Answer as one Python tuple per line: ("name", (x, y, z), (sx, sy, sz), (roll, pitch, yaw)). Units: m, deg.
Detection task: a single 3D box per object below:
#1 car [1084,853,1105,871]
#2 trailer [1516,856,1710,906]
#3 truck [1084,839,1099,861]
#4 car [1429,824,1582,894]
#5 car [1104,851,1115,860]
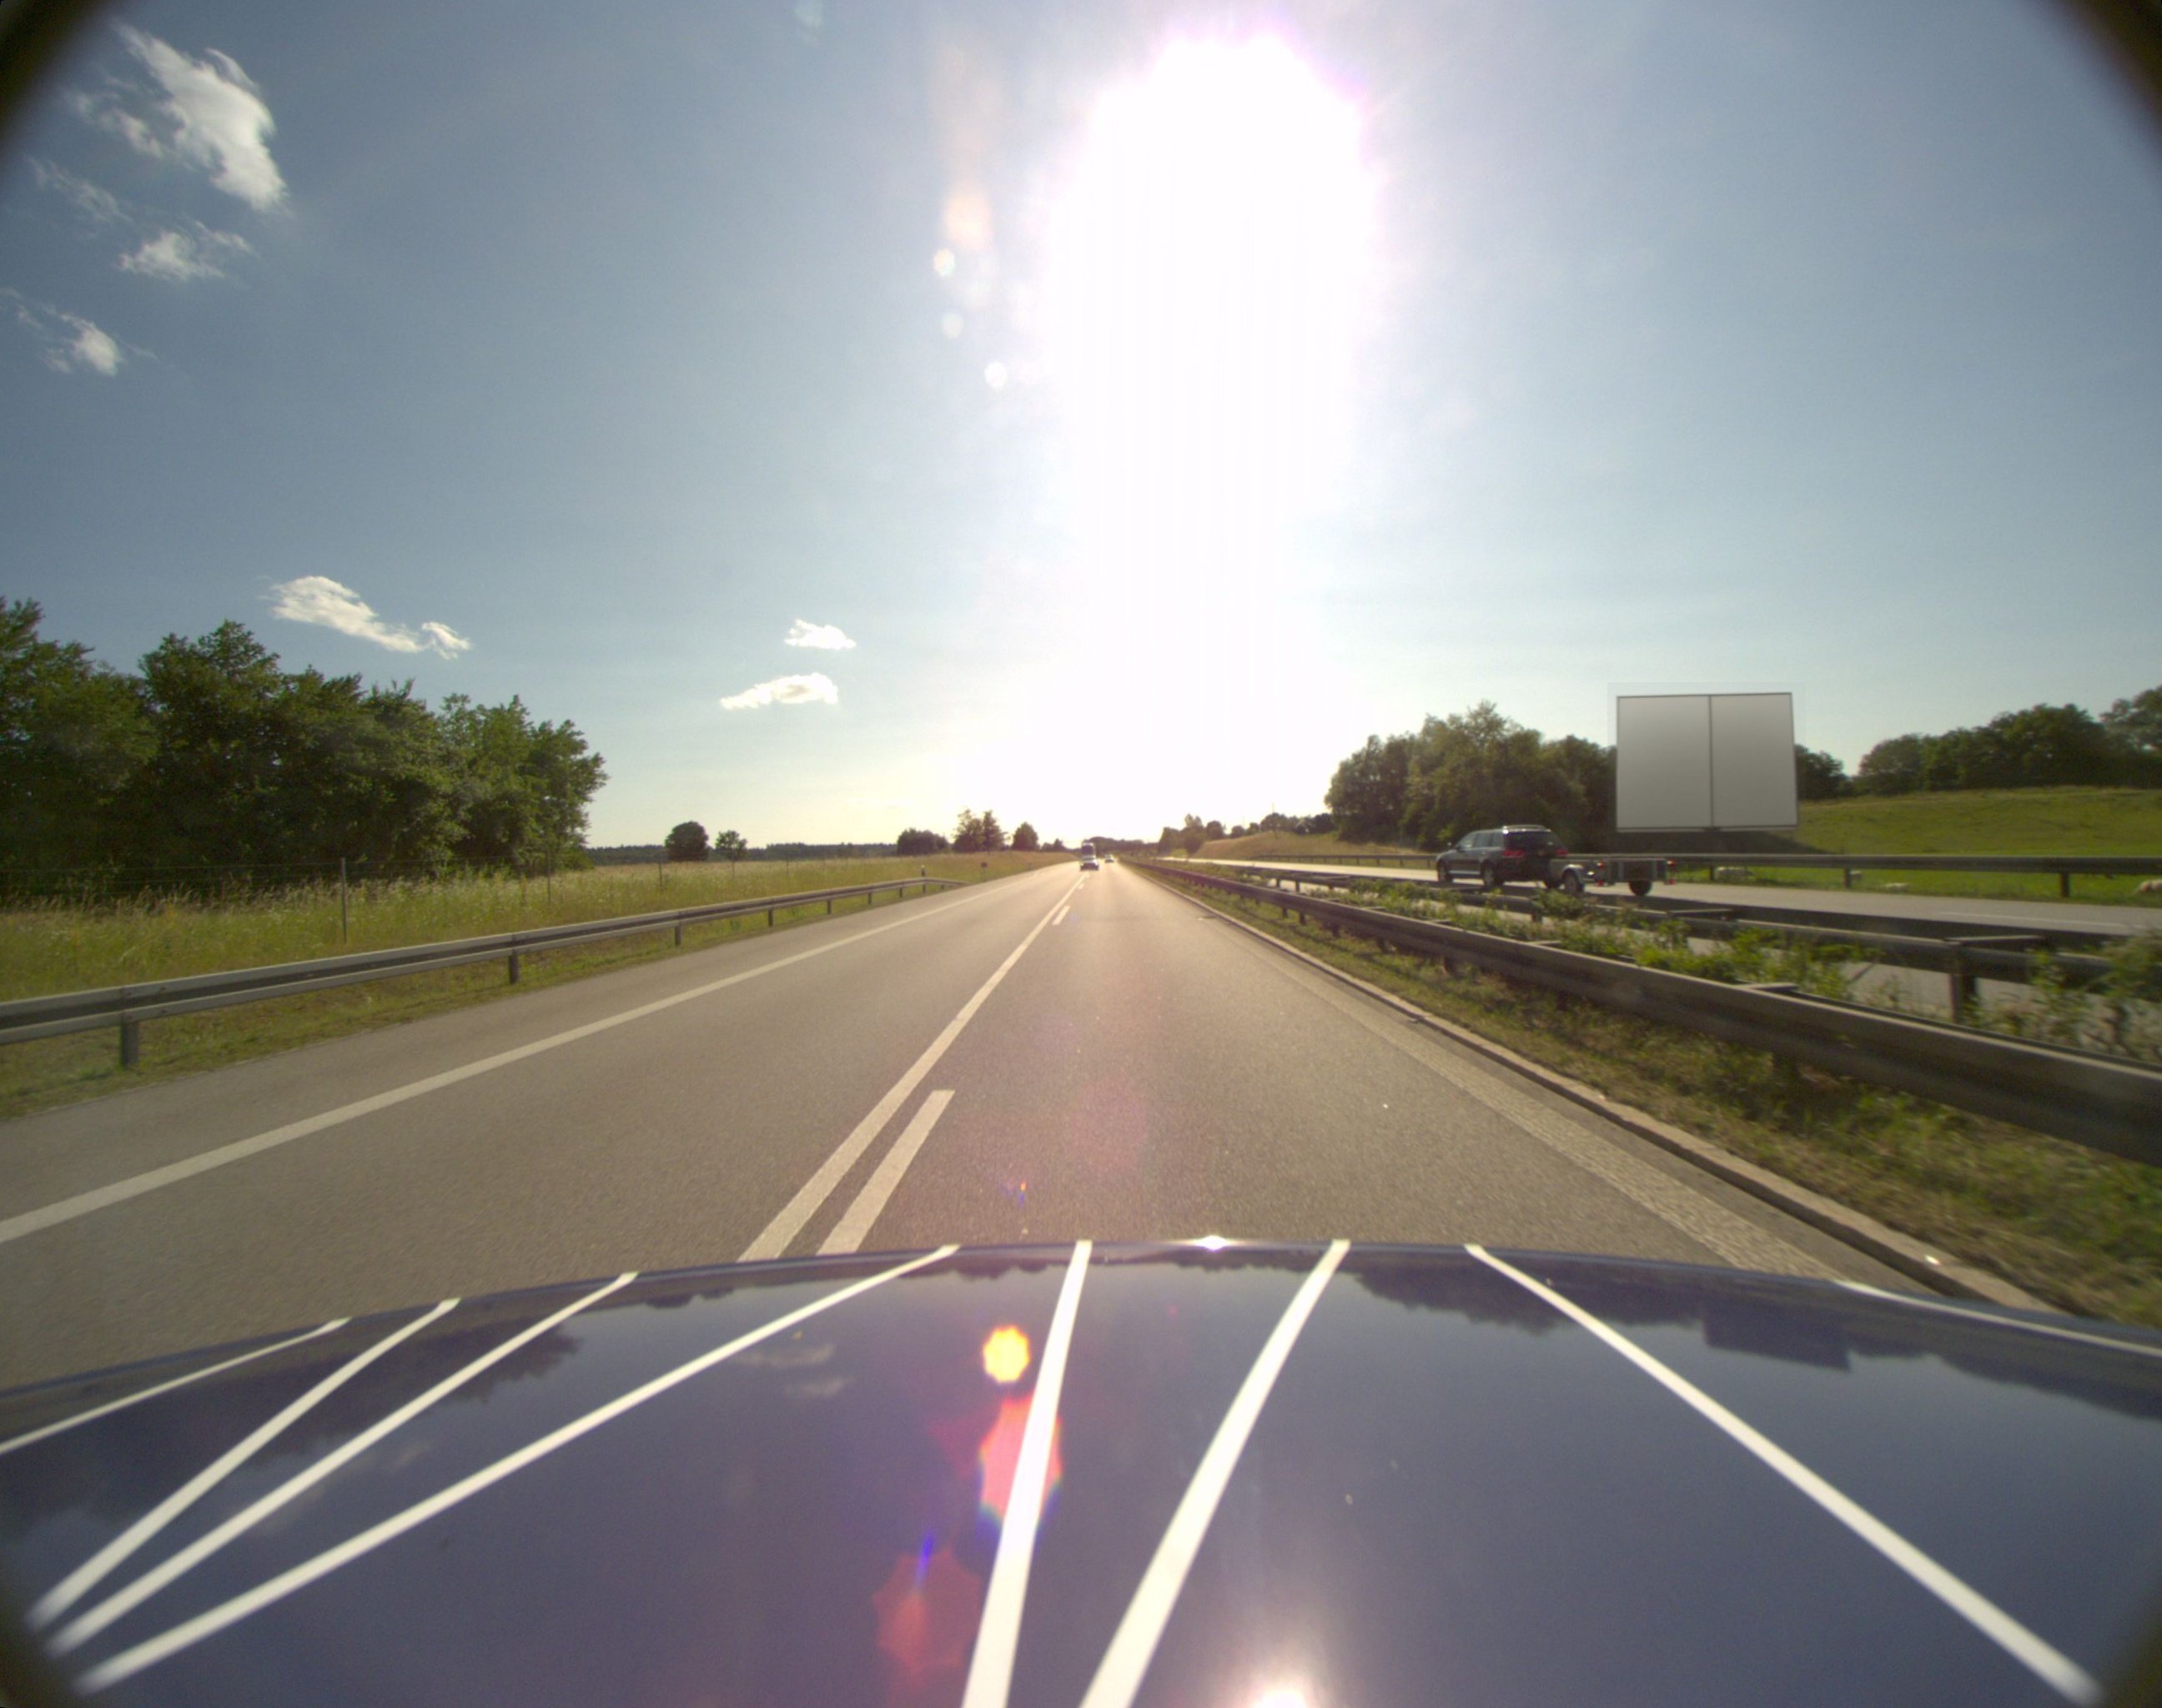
("car", (1.278, 0.735, 71.155), (1.870, 1.514, 4.284), (-1, 0, 2))
("trailer", (12.032, 0.566, 17.560), (1.746, 0.931, 4.020), (-2, 0, 2))
("truck", (2.179, -0.798, 153.300), (2.536, 4.228, 11.266), (-2, 1, 3))
("car", (12.090, 0.111, 22.069), (1.854, 1.793, 4.871), (-1, 0, 2))
("car", (5.179, 0.314, 139.052), (1.998, 1.652, 4.001), (-1, 0, 2))
